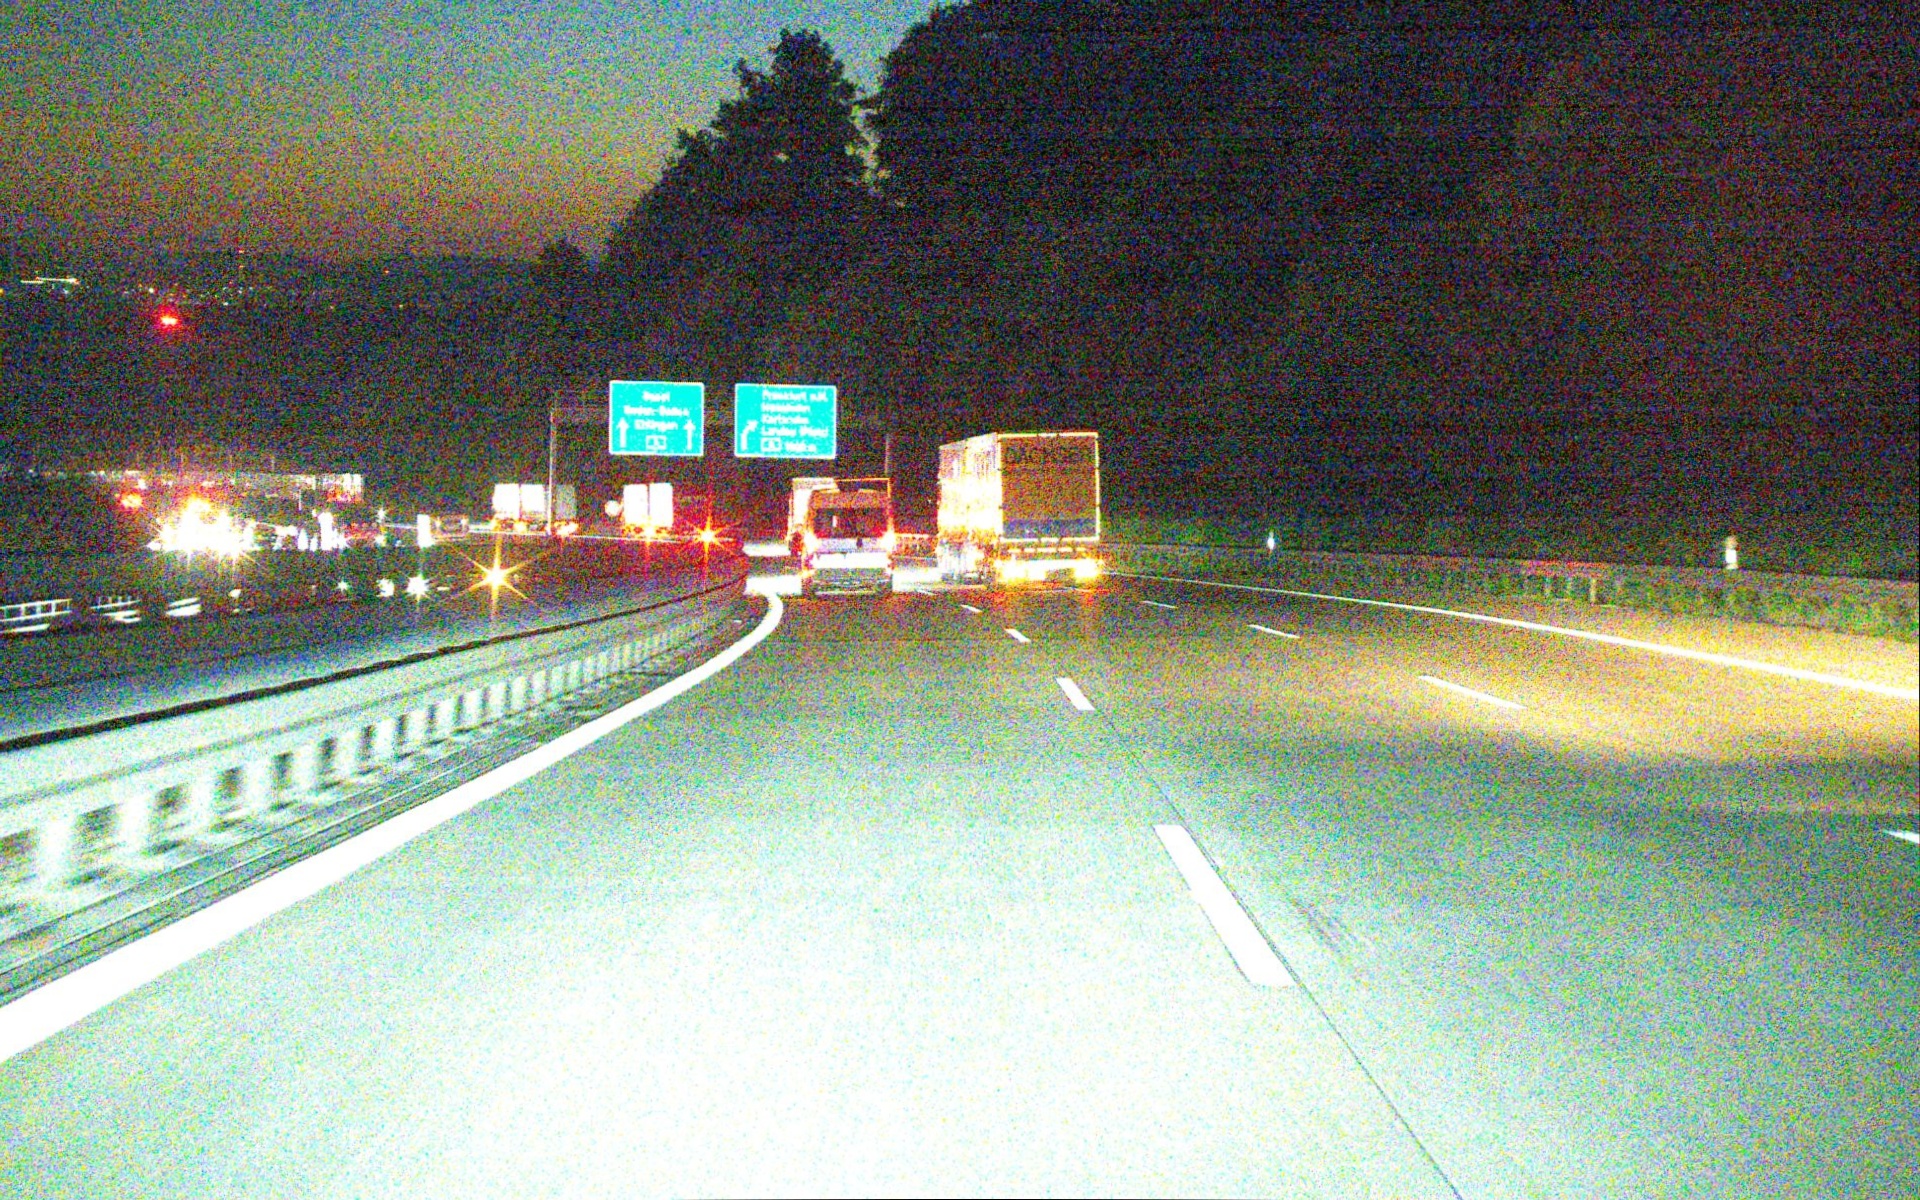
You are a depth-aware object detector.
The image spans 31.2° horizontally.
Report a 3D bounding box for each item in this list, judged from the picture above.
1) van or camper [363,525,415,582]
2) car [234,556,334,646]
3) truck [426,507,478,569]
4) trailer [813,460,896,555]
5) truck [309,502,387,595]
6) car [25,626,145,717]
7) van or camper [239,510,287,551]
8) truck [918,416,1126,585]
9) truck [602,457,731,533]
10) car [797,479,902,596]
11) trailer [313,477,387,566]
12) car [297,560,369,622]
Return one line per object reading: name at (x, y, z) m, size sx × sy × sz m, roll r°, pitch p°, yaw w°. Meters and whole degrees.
van or camper at (-31.163, -2.557, 187.512) m, size 1.833 × 2.961 × 6.402 m, roll -3°, pitch 2°, yaw -17°
car at (-19.288, -0.004, 98.258) m, size 2.027 × 2.433 × 5.696 m, roll -1°, pitch 1°, yaw -4°
truck at (-30.383, -3.706, 205.251) m, size 2.654 × 3.578 × 8.553 m, roll -1°, pitch 1°, yaw -11°
trailer at (-5.134, -4.527, 164.440) m, size 2.853 × 4.053 × 13.210 m, roll -2°, pitch 4°, yaw -6°
truck at (-29.598, -2.530, 166.272) m, size 3.417 × 4.208 × 6.285 m, roll -3°, pitch 2°, yaw -10°
car at (-18.260, 1.471, 71.891) m, size 1.752 × 1.710 × 4.001 m, roll -1°, pitch 1°, yaw -5°
van or camper at (-49.886, -4.968, 246.019) m, size 2.445 × 2.751 × 6.491 m, roll -3°, pitch 2°, yaw -19°
truck at (1.421, -2.644, 93.897) m, size 3.481 × 4.120 × 18.713 m, roll -1°, pitch 1°, yaw -6°
truck at (-19.460, -7.016, 225.825) m, size 3.914 × 4.611 × 21.027 m, roll -3°, pitch 3°, yaw -17°
car at (-2.557, -1.469, 80.790) m, size 2.337 × 2.631 × 5.248 m, roll 1°, pitch 1°, yaw -1°
trailer at (-30.439, -3.881, 171.605) m, size 3.435 × 4.226 × 12.836 m, roll -1°, pitch 1°, yaw -10°
car at (-23.048, -0.363, 126.545) m, size 2.139 × 2.047 × 5.114 m, roll -3°, pitch 2°, yaw -6°
